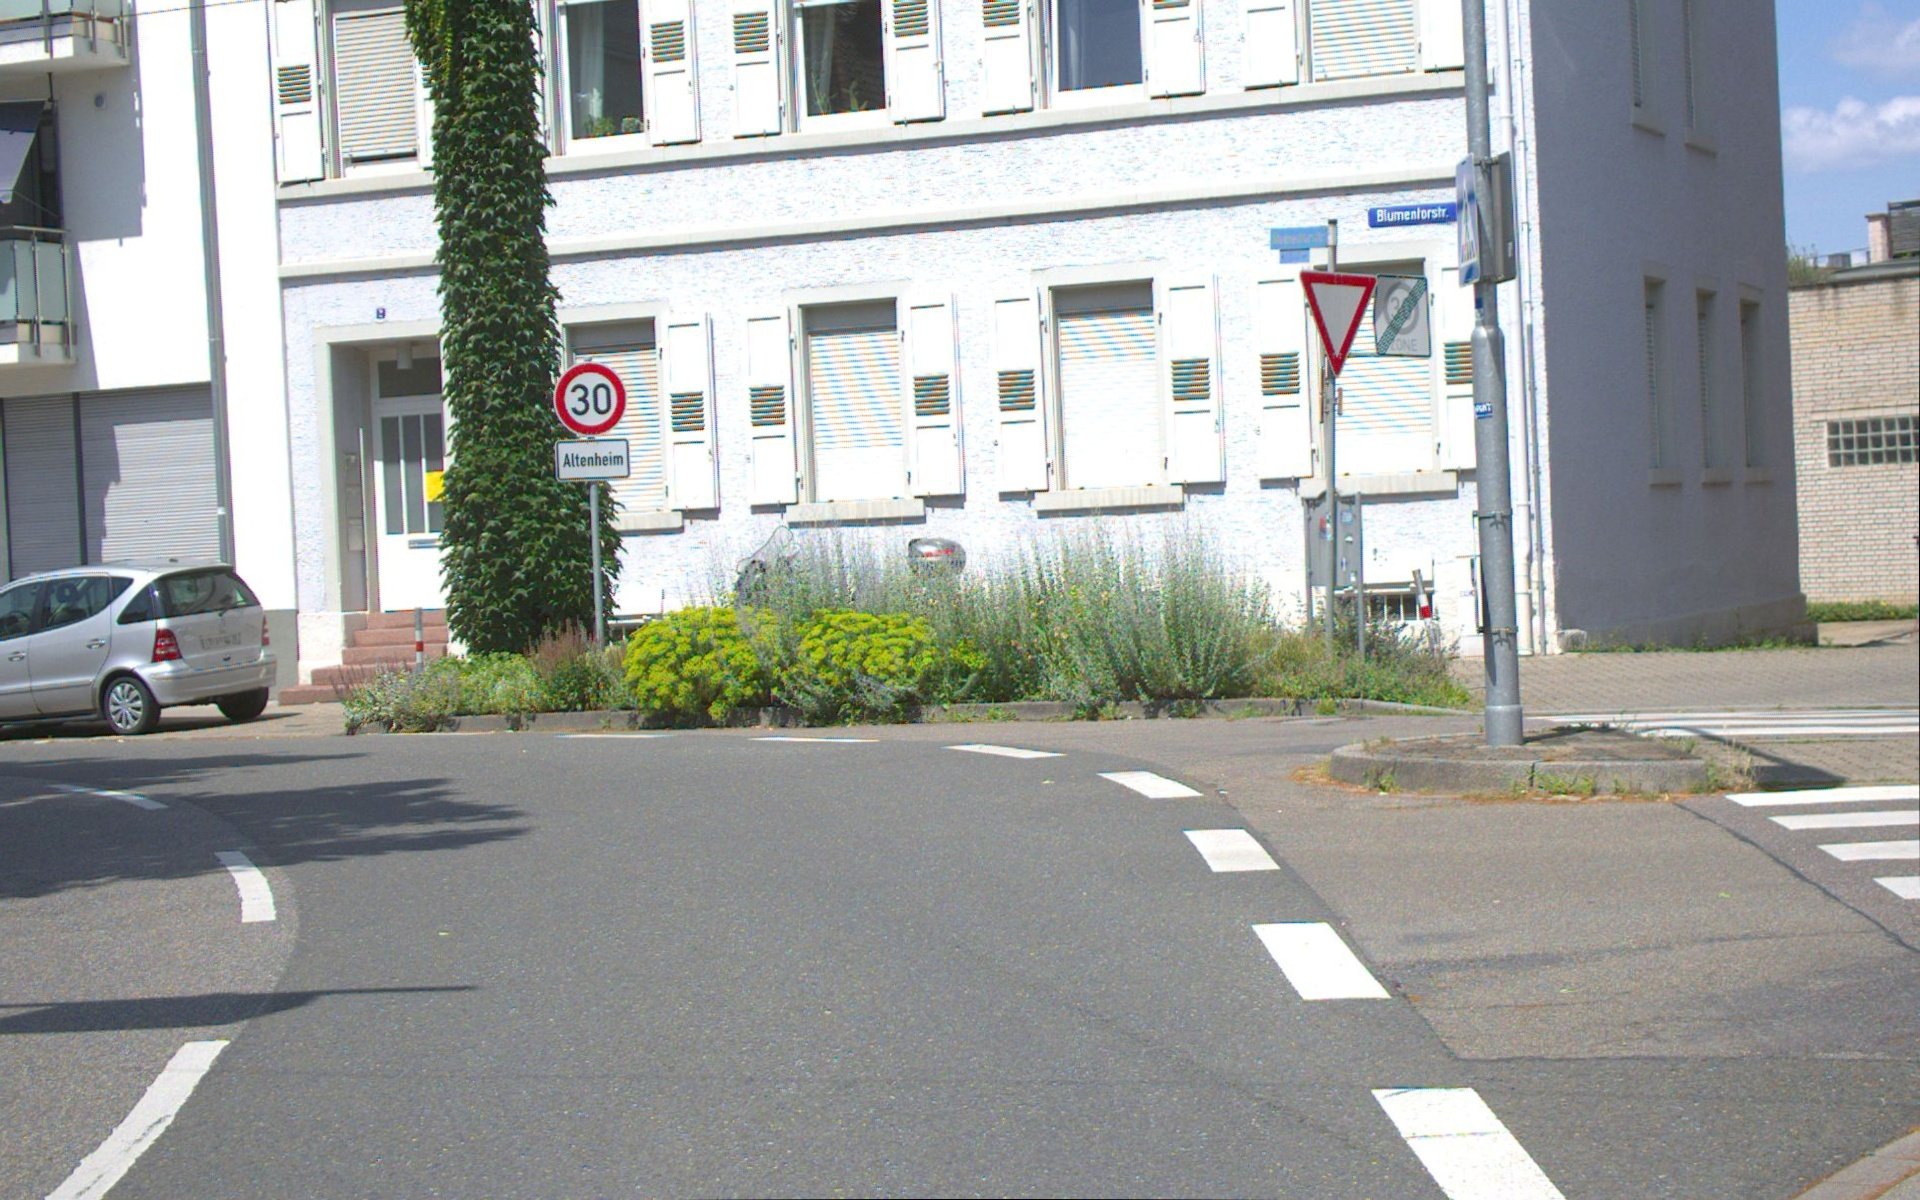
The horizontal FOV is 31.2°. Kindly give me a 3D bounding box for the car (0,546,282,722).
[{"bbox_3d":[-8.303,0.333,32.409,3.612,1.581,1.581,-1,-1,31],"label":"car"}]
